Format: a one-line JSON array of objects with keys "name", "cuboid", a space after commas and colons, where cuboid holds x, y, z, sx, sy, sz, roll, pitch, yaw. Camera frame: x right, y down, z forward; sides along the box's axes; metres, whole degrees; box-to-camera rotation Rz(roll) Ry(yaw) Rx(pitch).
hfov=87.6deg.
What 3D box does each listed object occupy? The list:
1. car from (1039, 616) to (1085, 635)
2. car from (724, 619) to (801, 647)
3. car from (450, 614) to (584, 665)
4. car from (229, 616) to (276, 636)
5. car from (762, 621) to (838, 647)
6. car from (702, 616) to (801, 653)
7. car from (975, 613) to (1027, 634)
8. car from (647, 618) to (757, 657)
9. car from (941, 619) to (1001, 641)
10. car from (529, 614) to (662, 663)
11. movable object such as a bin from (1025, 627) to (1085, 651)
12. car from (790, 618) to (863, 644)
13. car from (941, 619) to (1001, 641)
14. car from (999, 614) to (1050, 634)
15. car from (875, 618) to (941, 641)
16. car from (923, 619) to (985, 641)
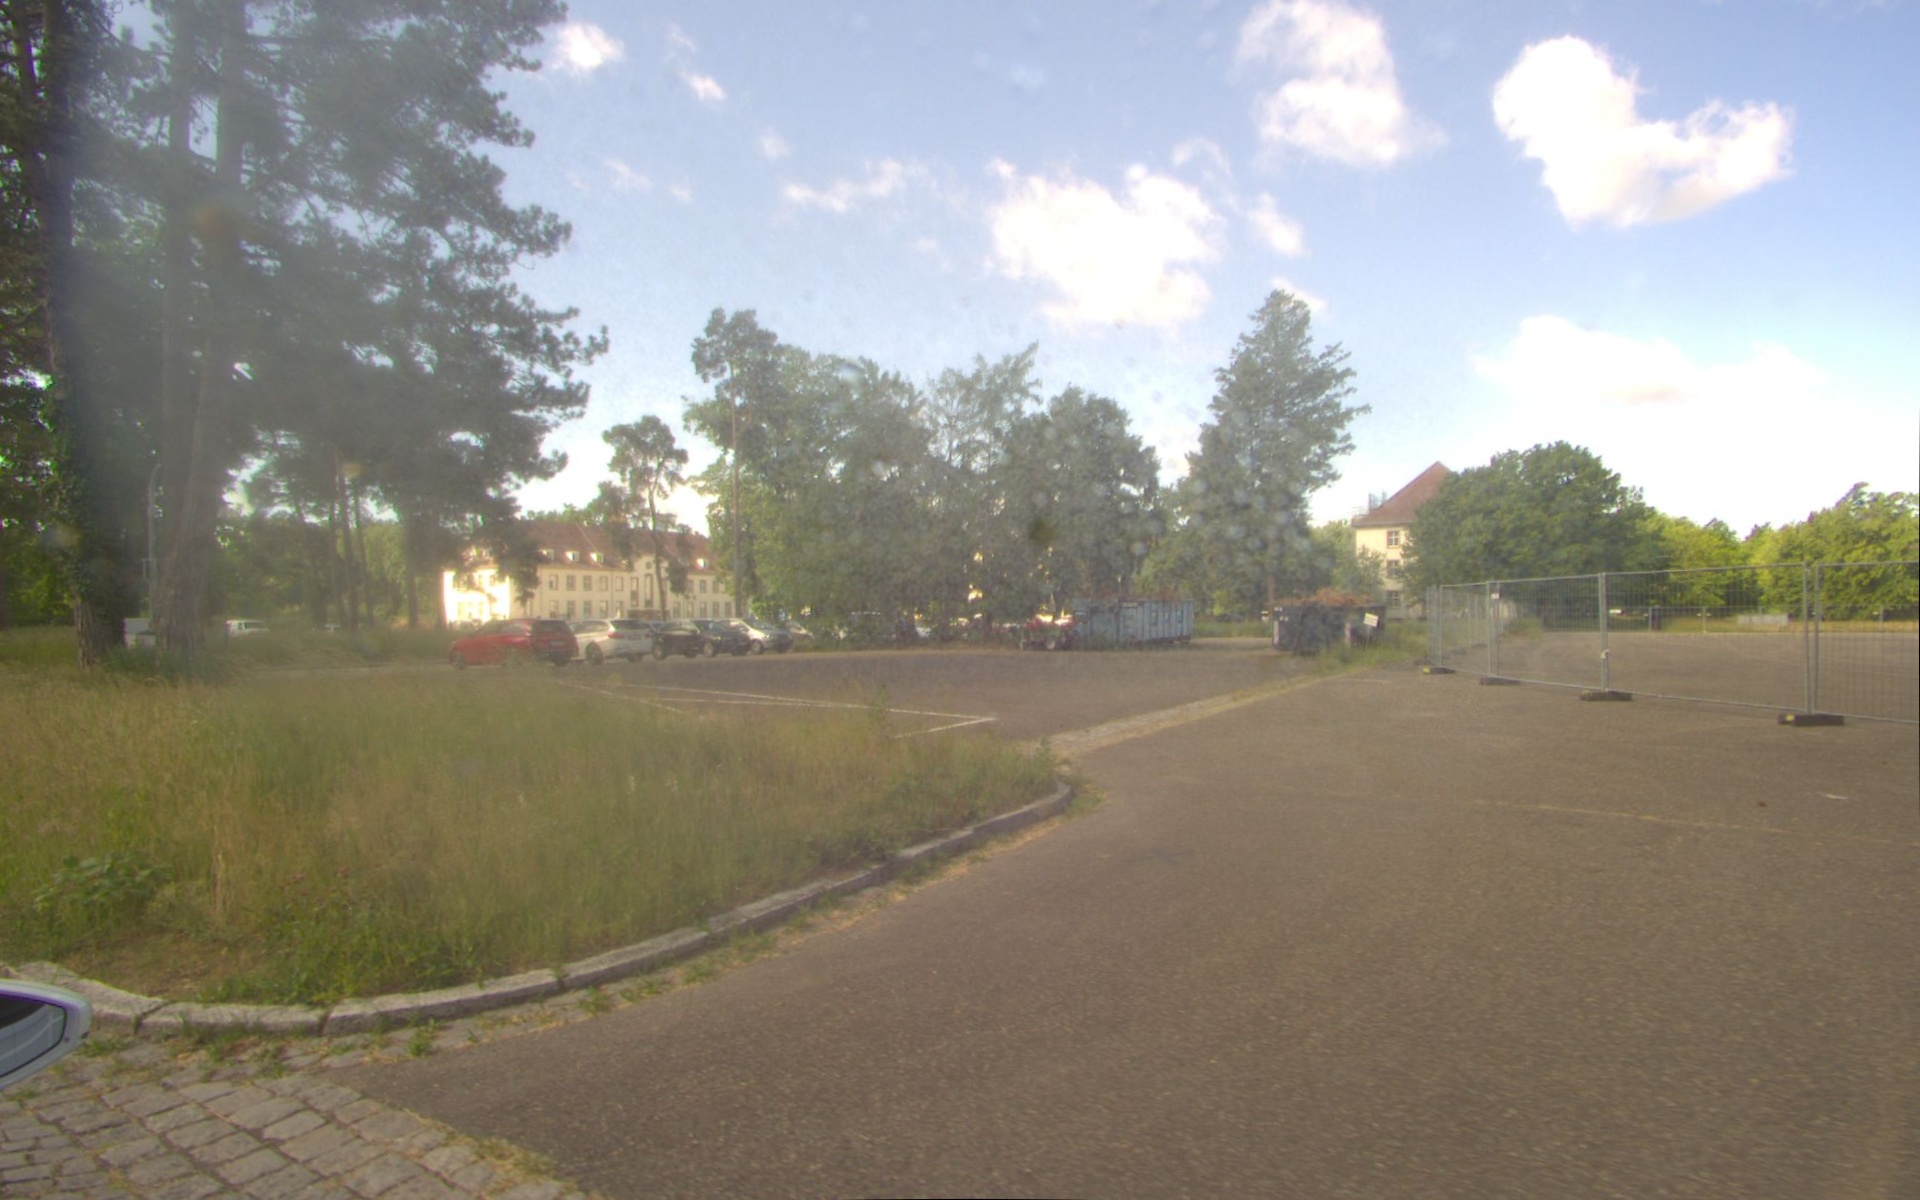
[{"name": "car", "cuboid": [8.916, 2.228, 87.370, 3.682, 1.567, 1.705, -1, -2, 32]}, {"name": "car", "cuboid": [-10.915, 1.831, 55.348, 4.181, 1.512, 1.721, -1, -2, 32]}, {"name": "car", "cuboid": [-13.141, 1.184, 29.644, 4.071, 1.416, 1.653, -2, -3, 32]}, {"name": "car", "cuboid": [-59.805, 2.173, 84.593, 4.103, 1.602, 1.823, -1, -1, 32]}, {"name": "car", "cuboid": [-9.118, 1.932, 57.045, 4.181, 1.443, 1.721, -1, -2, 32]}, {"name": "car", "cuboid": [-8.196, 1.353, 39.310, 3.740, 1.389, 1.720, -1, -2, 34]}, {"name": "car", "cuboid": [3.158, 1.849, 77.116, 3.640, 1.567, 1.705, -1, -2, 32]}, {"name": "car", "cuboid": [-9.486, 1.359, 36.729, 3.988, 1.332, 1.613, -1, 0, 33]}, {"name": "car", "cuboid": [0.775, 2.232, 74.185, 4.181, 1.567, 1.721, -1, -2, 32]}, {"name": "car", "cuboid": [-11.714, 1.237, 32.136, 4.180, 1.396, 1.776, -3, -2, 31]}, {"name": "movable object such as a bin", "cuboid": [3.163, 1.295, 33.329, 1.696, 0.762, 1.143, -1, -1, 26]}, {"name": "car", "cuboid": [-7.992, 1.841, 59.895, 4.181, 1.487, 1.721, -1, -2, 32]}, {"name": "car", "cuboid": [0.789, 2.232, 74.176, 4.181, 1.567, 1.721, -1, -2, 32]}, {"name": "car", "cuboid": [5.182, 1.975, 80.514, 3.682, 1.567, 1.705, -1, -2, 32]}, {"name": "car", "cuboid": [-3.466, 1.967, 66.393, 4.181, 1.443, 1.721, -1, -2, 32]}, {"name": "car", "cuboid": [-0.451, 2.145, 71.815, 4.181, 1.567, 1.721, -1, -2, 32]}]
